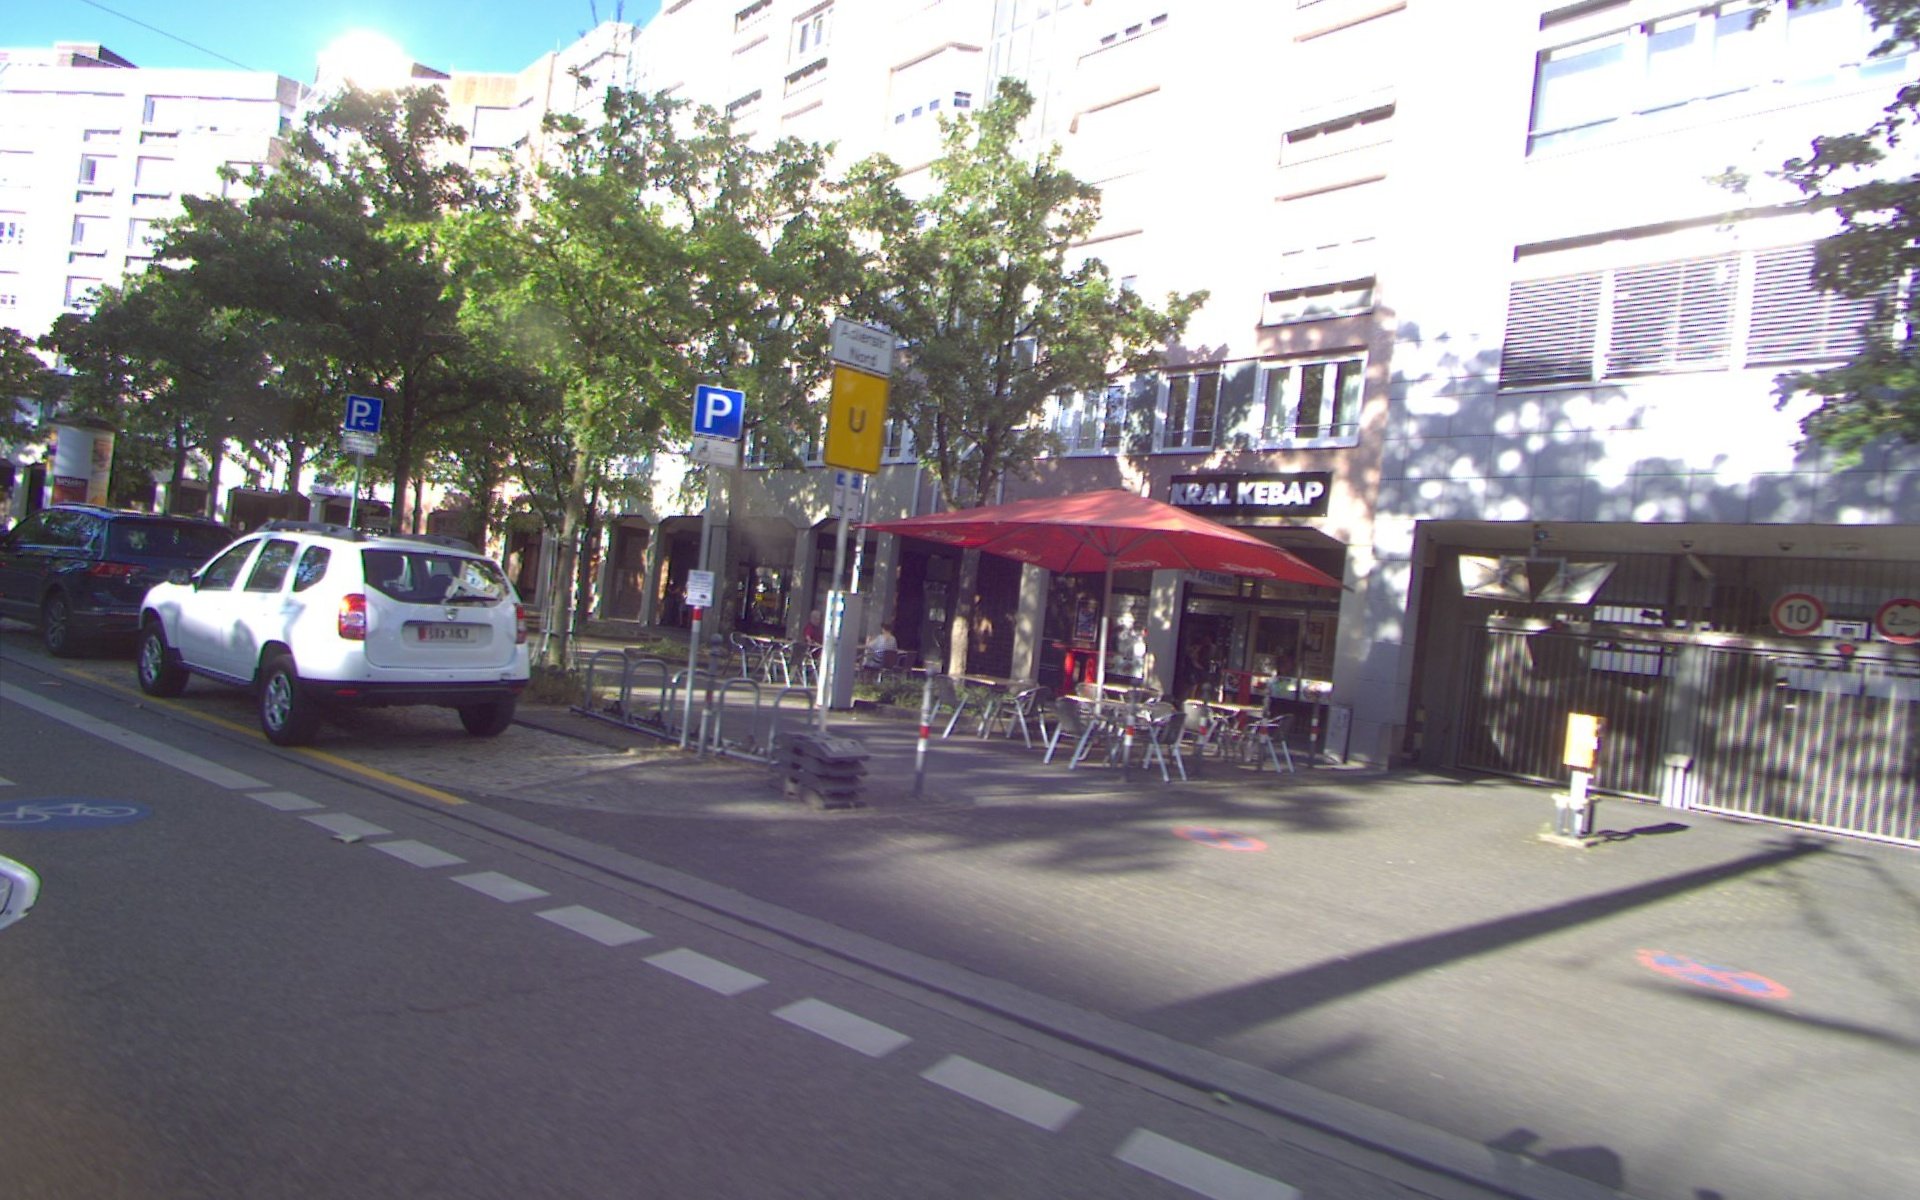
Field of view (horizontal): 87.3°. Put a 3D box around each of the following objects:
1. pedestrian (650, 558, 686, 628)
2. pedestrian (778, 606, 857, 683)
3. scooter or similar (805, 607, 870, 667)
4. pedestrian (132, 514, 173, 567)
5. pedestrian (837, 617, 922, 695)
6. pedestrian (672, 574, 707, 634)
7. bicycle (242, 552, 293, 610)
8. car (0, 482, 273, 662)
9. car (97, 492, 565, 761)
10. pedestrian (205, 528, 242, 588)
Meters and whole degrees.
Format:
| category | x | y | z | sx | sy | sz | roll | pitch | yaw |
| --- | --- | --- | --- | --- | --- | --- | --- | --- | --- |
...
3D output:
| category | x | y | z | sx | sy | sz | roll | pitch | yaw |
| --- | --- | --- | --- | --- | --- | --- | --- | --- | --- |
| pedestrian | -9.922 | -0.252 | 34.176 | 0.720 | 2.274 | 0.796 | 7 | -1 | -37 |
| pedestrian | -2.635 | 0.829 | 18.658 | 0.953 | 1.265 | 0.929 | 6 | -1 | 36 |
| scooter or similar | -2.931 | 0.880 | 24.051 | 1.343 | 1.270 | 0.665 | 6 | -1 | 40 |
| pedestrian | -32.897 | -2.416 | 40.998 | 0.832 | 2.005 | 0.819 | 6 | -1 | 18 |
| pedestrian | -1.434 | 0.992 | 17.914 | 1.108 | 1.227 | 0.884 | 6 | -1 | 42 |
| pedestrian | -9.071 | 0.130 | 33.685 | 0.718 | 1.894 | 0.886 | 7 | -1 | -31 |
| bicycle | -15.681 | -0.446 | 22.819 | 0.649 | 1.201 | 2.168 | 7 | -1 | -30 |
| car | -10.333 | -0.399 | 12.090 | 4.501 | 1.746 | 1.798 | 6 | 1 | 34 |
| car | -5.705 | 0.109 | 8.942 | 4.388 | 1.746 | 1.798 | 6 | 1 | 34 |
| pedestrian | -26.020 | -1.466 | 35.552 | 0.763 | 2.005 | 0.640 | 6 | -1 | 33 |
